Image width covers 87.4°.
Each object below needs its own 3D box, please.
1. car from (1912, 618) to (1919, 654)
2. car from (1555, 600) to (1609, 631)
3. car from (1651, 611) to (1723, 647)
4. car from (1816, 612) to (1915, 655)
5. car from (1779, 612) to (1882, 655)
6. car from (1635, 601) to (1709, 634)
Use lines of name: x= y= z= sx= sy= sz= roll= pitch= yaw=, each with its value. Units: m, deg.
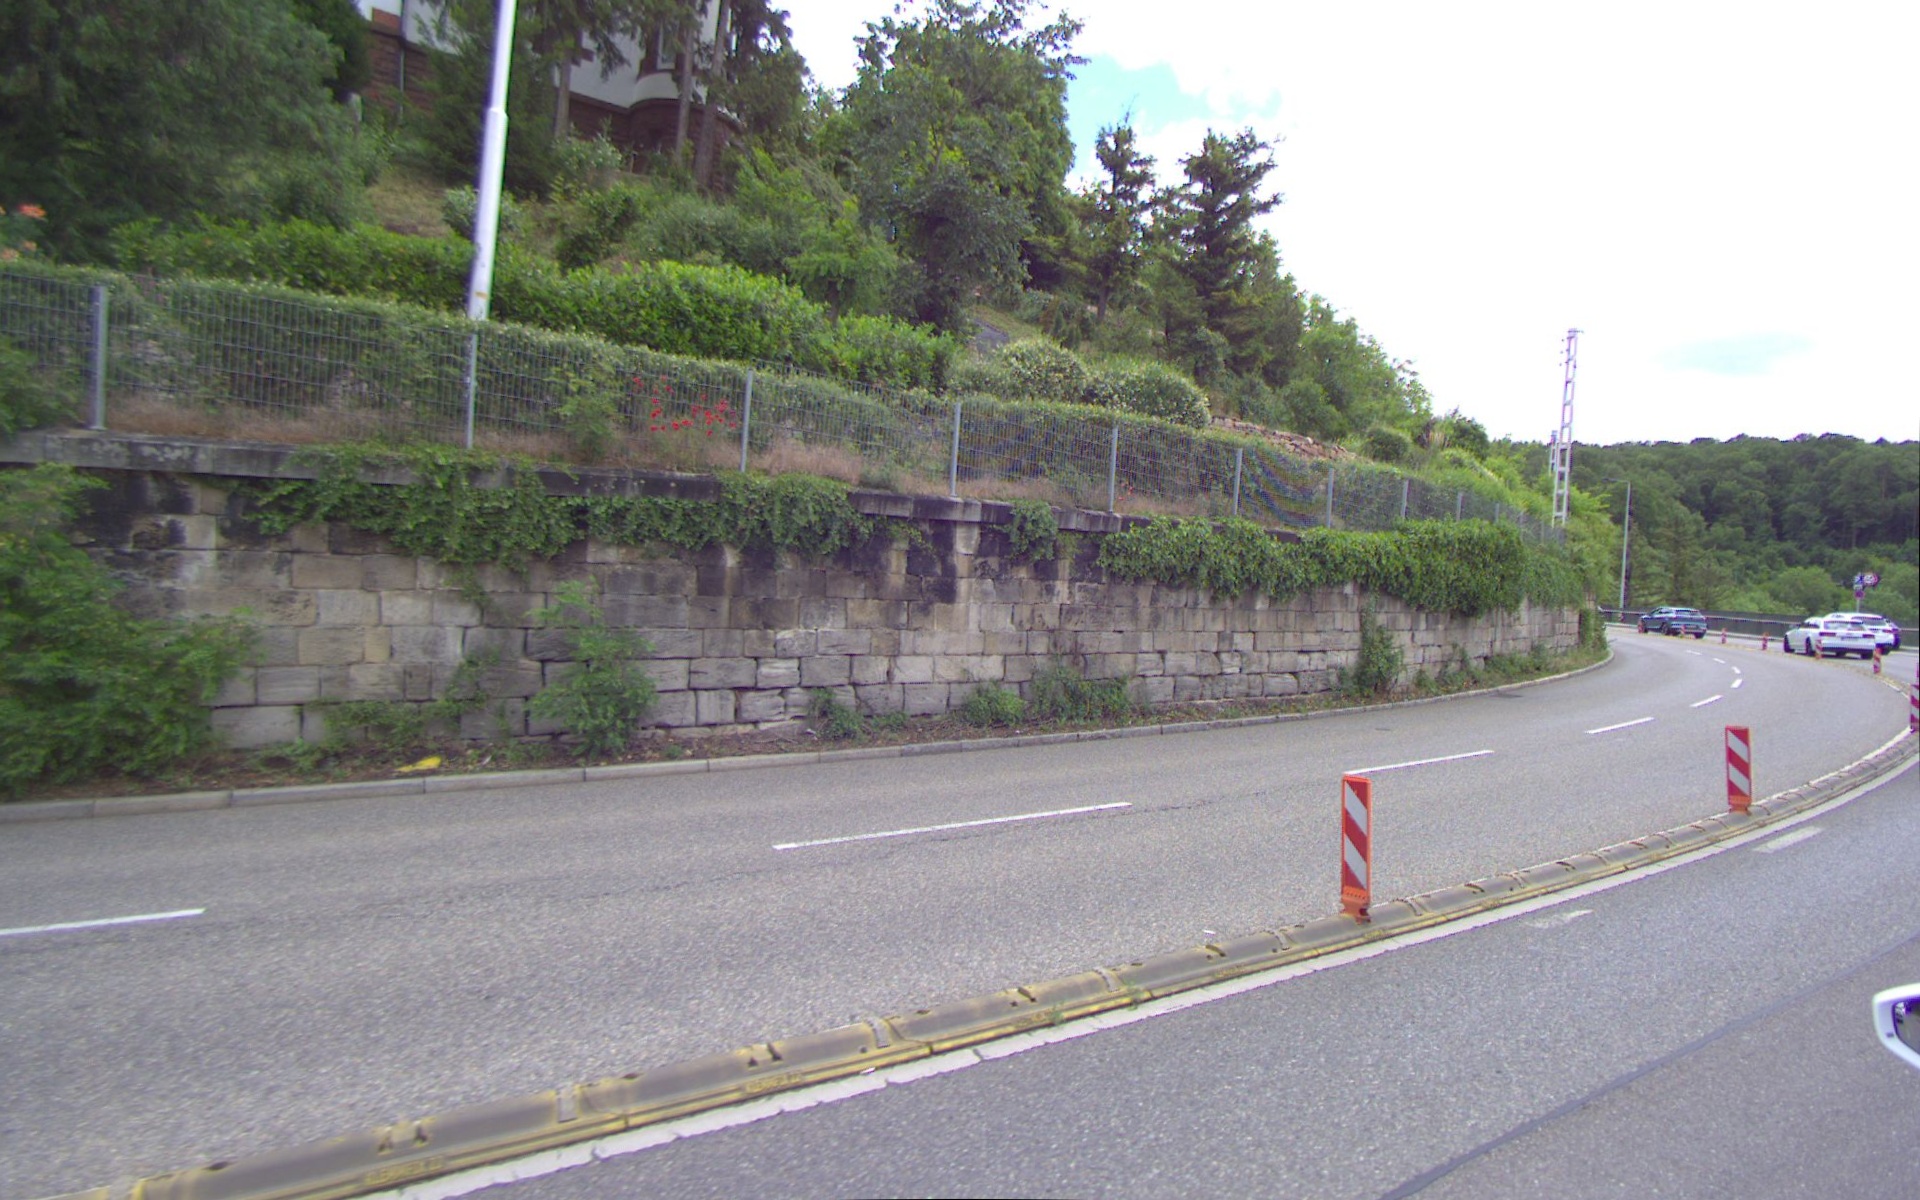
car: x=40.064 y=1.536 z=39.995 sx=1.686 sy=1.450 sz=3.849 roll=2 pitch=1 yaw=20
car: x=40.413 y=1.060 z=65.344 sx=1.838 sy=1.784 sz=4.003 roll=3 pitch=-2 yaw=16
car: x=42.720 y=1.673 z=59.116 sx=1.959 sy=2.040 sz=4.003 roll=1 pitch=-1 yaw=12
car: x=38.385 y=1.408 z=42.709 sx=1.962 sy=1.741 sz=4.111 roll=0 pitch=-2 yaw=25
car: x=32.959 y=1.266 z=38.188 sx=1.963 sy=1.523 sz=4.661 roll=0 pitch=-1 yaw=28
car: x=38.055 y=0.955 z=53.798 sx=1.960 sy=1.670 sz=4.002 roll=0 pitch=-1 yaw=16
